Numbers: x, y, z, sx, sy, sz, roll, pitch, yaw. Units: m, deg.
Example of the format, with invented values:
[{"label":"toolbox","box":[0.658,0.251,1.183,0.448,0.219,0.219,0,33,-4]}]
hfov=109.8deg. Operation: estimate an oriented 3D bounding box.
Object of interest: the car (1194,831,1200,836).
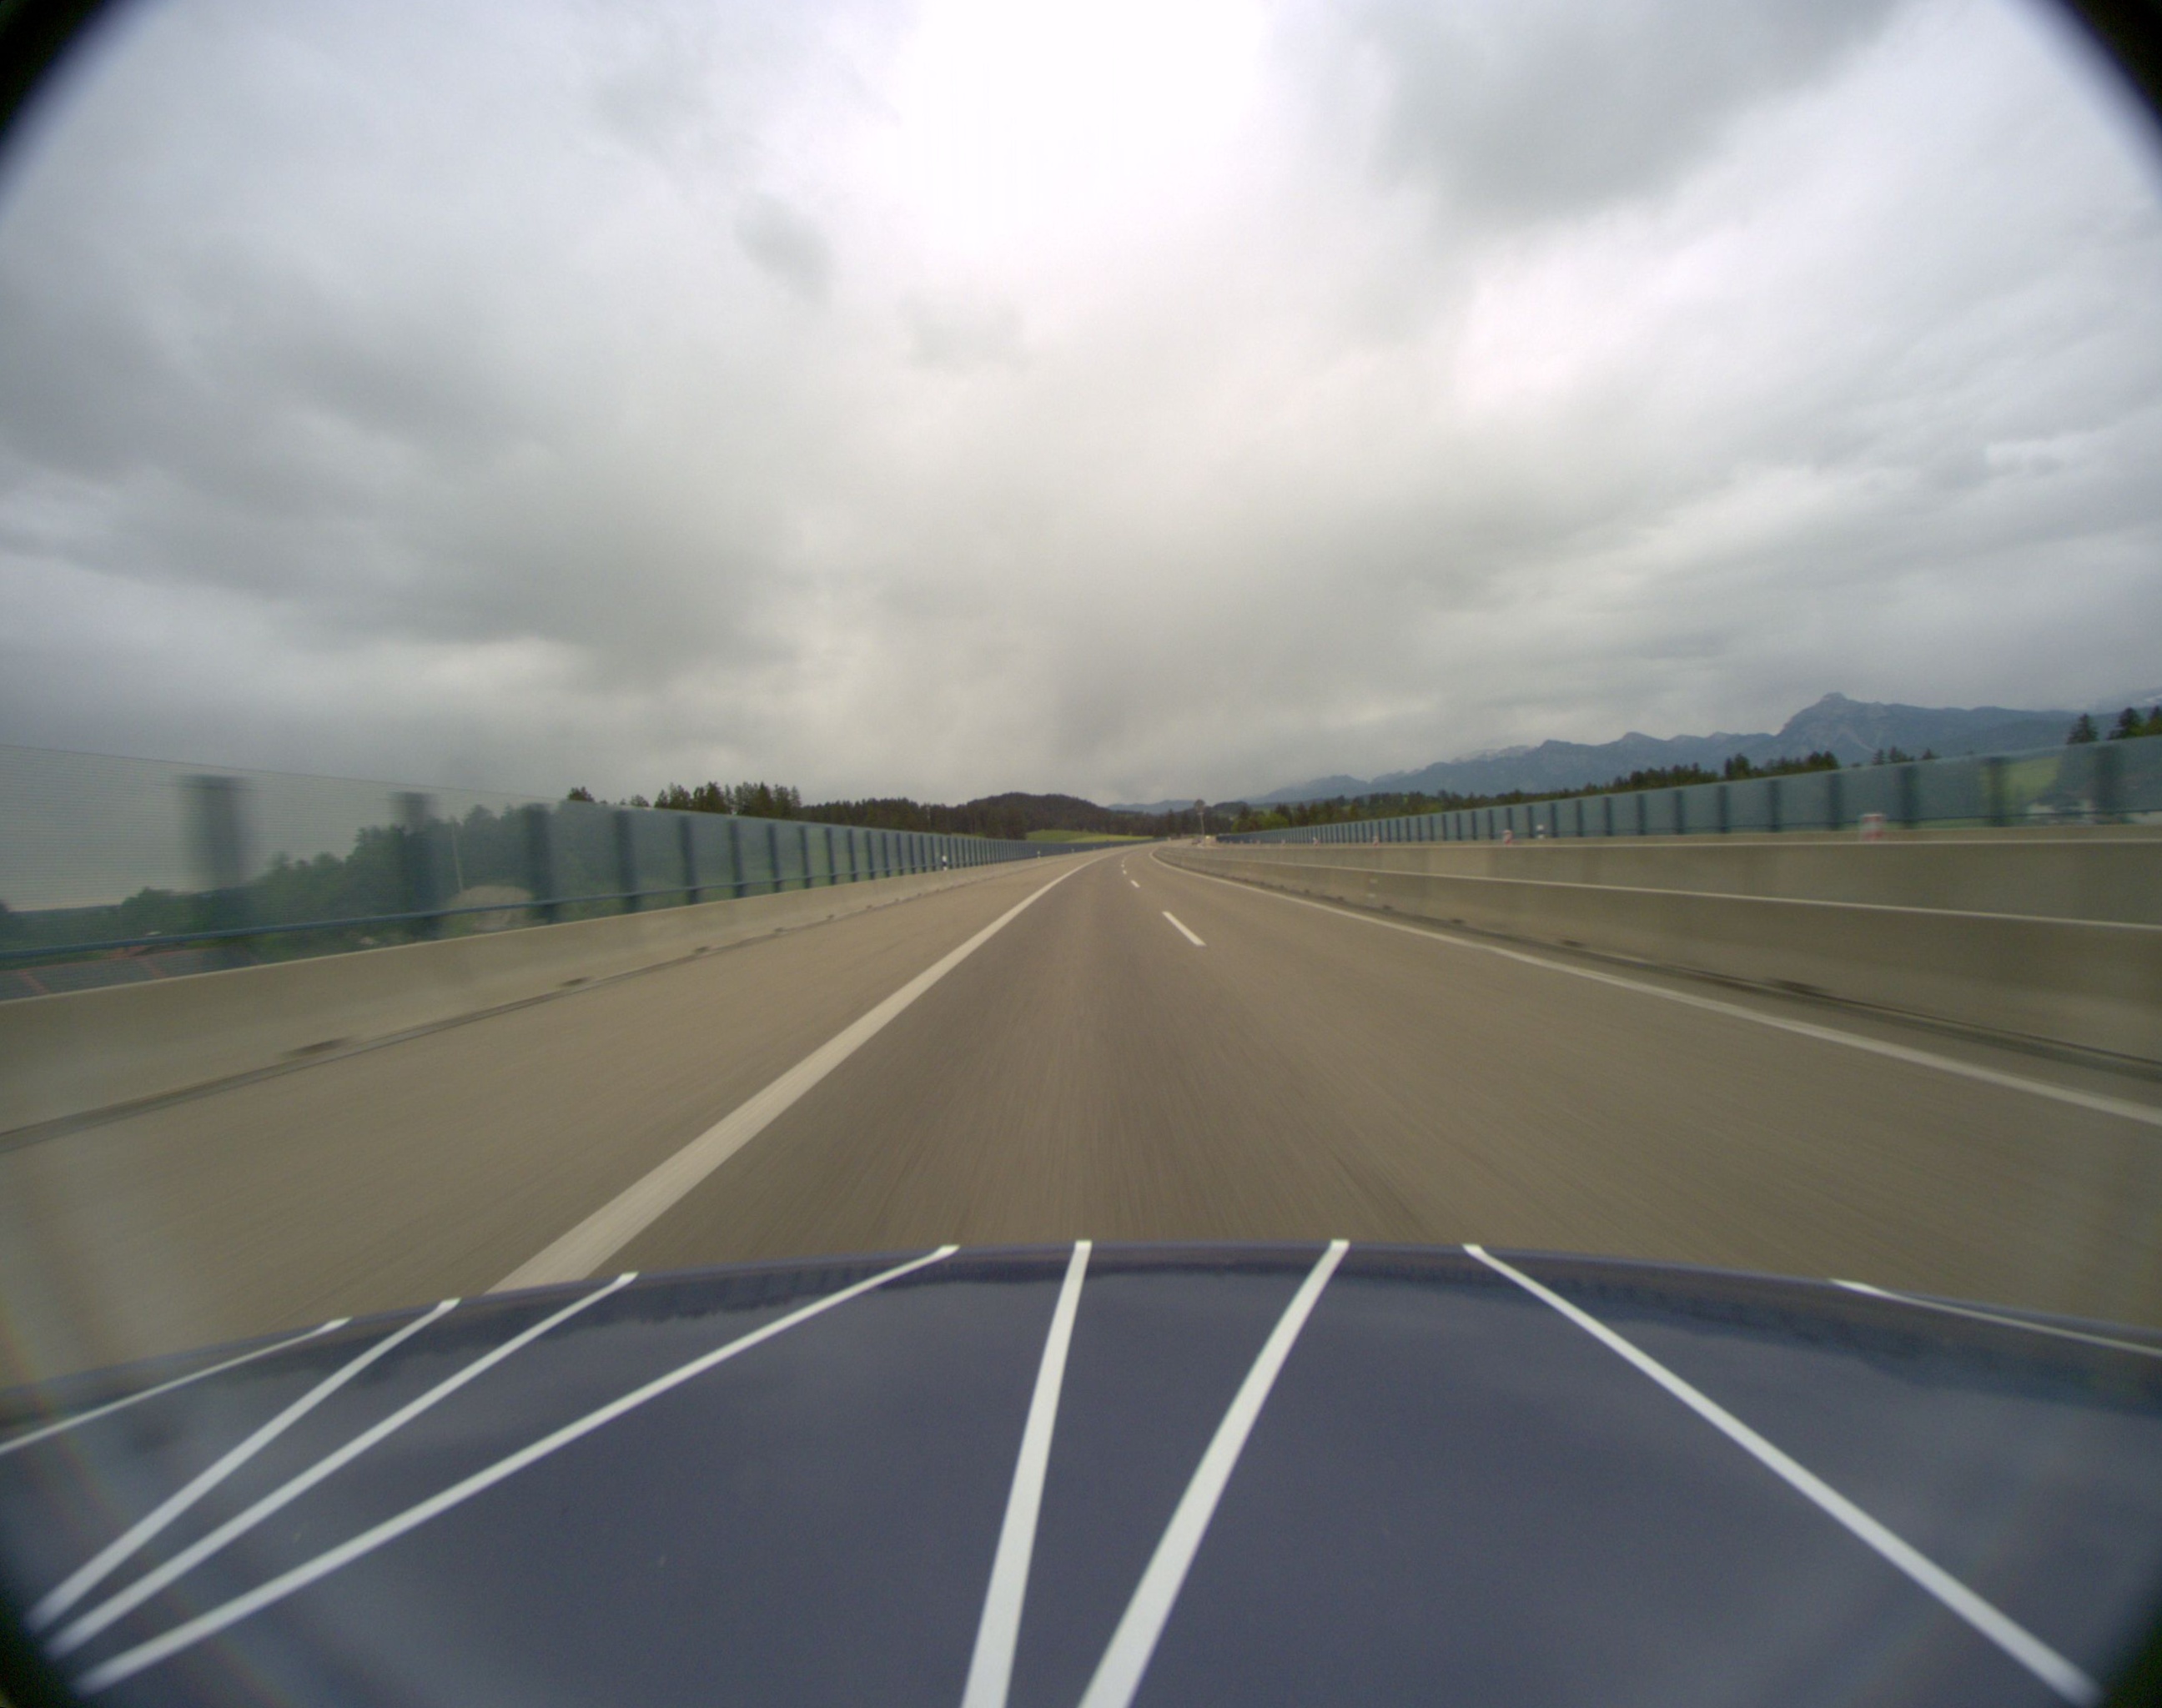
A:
[{"label":"car","box":[39.433,-7.065,258.989,1.895,1.740,4.135,-1,1,9]}]
